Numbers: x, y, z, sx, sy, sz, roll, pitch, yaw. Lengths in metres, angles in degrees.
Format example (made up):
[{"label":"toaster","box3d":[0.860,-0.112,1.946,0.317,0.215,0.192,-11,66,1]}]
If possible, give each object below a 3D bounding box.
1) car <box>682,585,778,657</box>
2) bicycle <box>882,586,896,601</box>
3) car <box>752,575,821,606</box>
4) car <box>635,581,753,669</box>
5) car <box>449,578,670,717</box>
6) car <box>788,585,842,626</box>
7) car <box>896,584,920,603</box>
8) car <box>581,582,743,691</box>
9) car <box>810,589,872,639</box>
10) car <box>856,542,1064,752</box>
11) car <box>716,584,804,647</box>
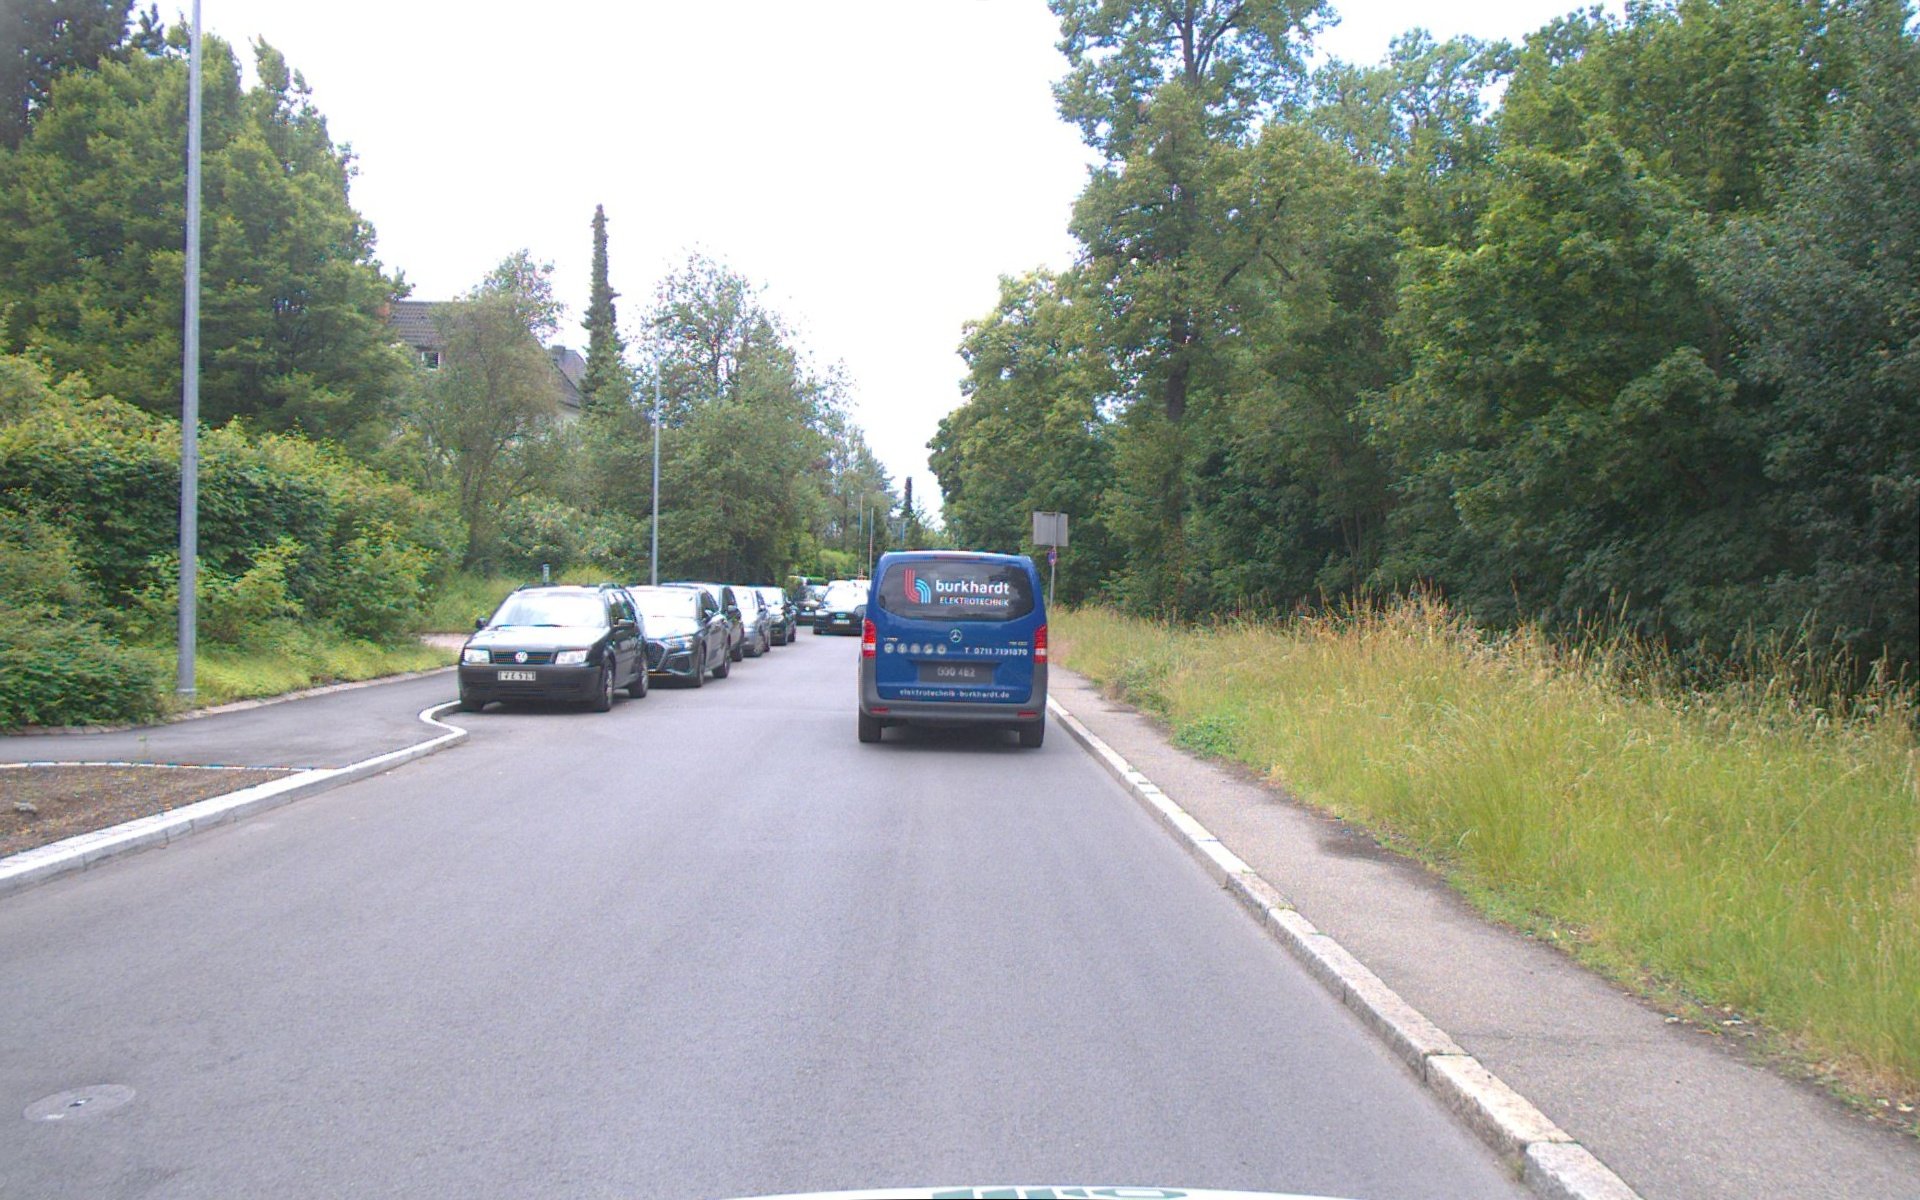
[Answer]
[{"label":"car","box3d":[-4.880,0.406,35.607,1.591,1.457,4.349,1,0,-2]},{"label":"bicycle","box3d":[-6.399,-0.597,149.582,0.887,1.273,2.917,4,0,3]},{"label":"car","box3d":[-10.319,-0.571,98.257,3.614,1.666,1.830,3,0,12]},{"label":"car","box3d":[-4.866,0.415,30.713,1.591,1.508,3.999,1,0,-1]},{"label":"car","box3d":[-4.811,0.500,20.521,1.648,1.508,4.692,1,0,-1]},{"label":"car","box3d":[-5.424,0.197,62.306,1.589,1.475,3.969,1,0,1]},{"label":"car","box3d":[-4.736,-0.625,152.467,1.798,1.659,4.302,3,0,2]},{"label":"car","box3d":[-4.487,0.495,25.498,1.671,1.508,4.495,1,0,0]},{"label":"car","box3d":[-3.695,0.400,52.107,1.744,1.451,4.488,2,0,-2]},{"label":"car","box3d":[-0.105,0.381,17.315,1.851,1.876,3.998,3,2,-3]},{"label":"car","box3d":[-5.031,0.343,42.093,1.742,1.457,5.103,2,0,-2]}]
